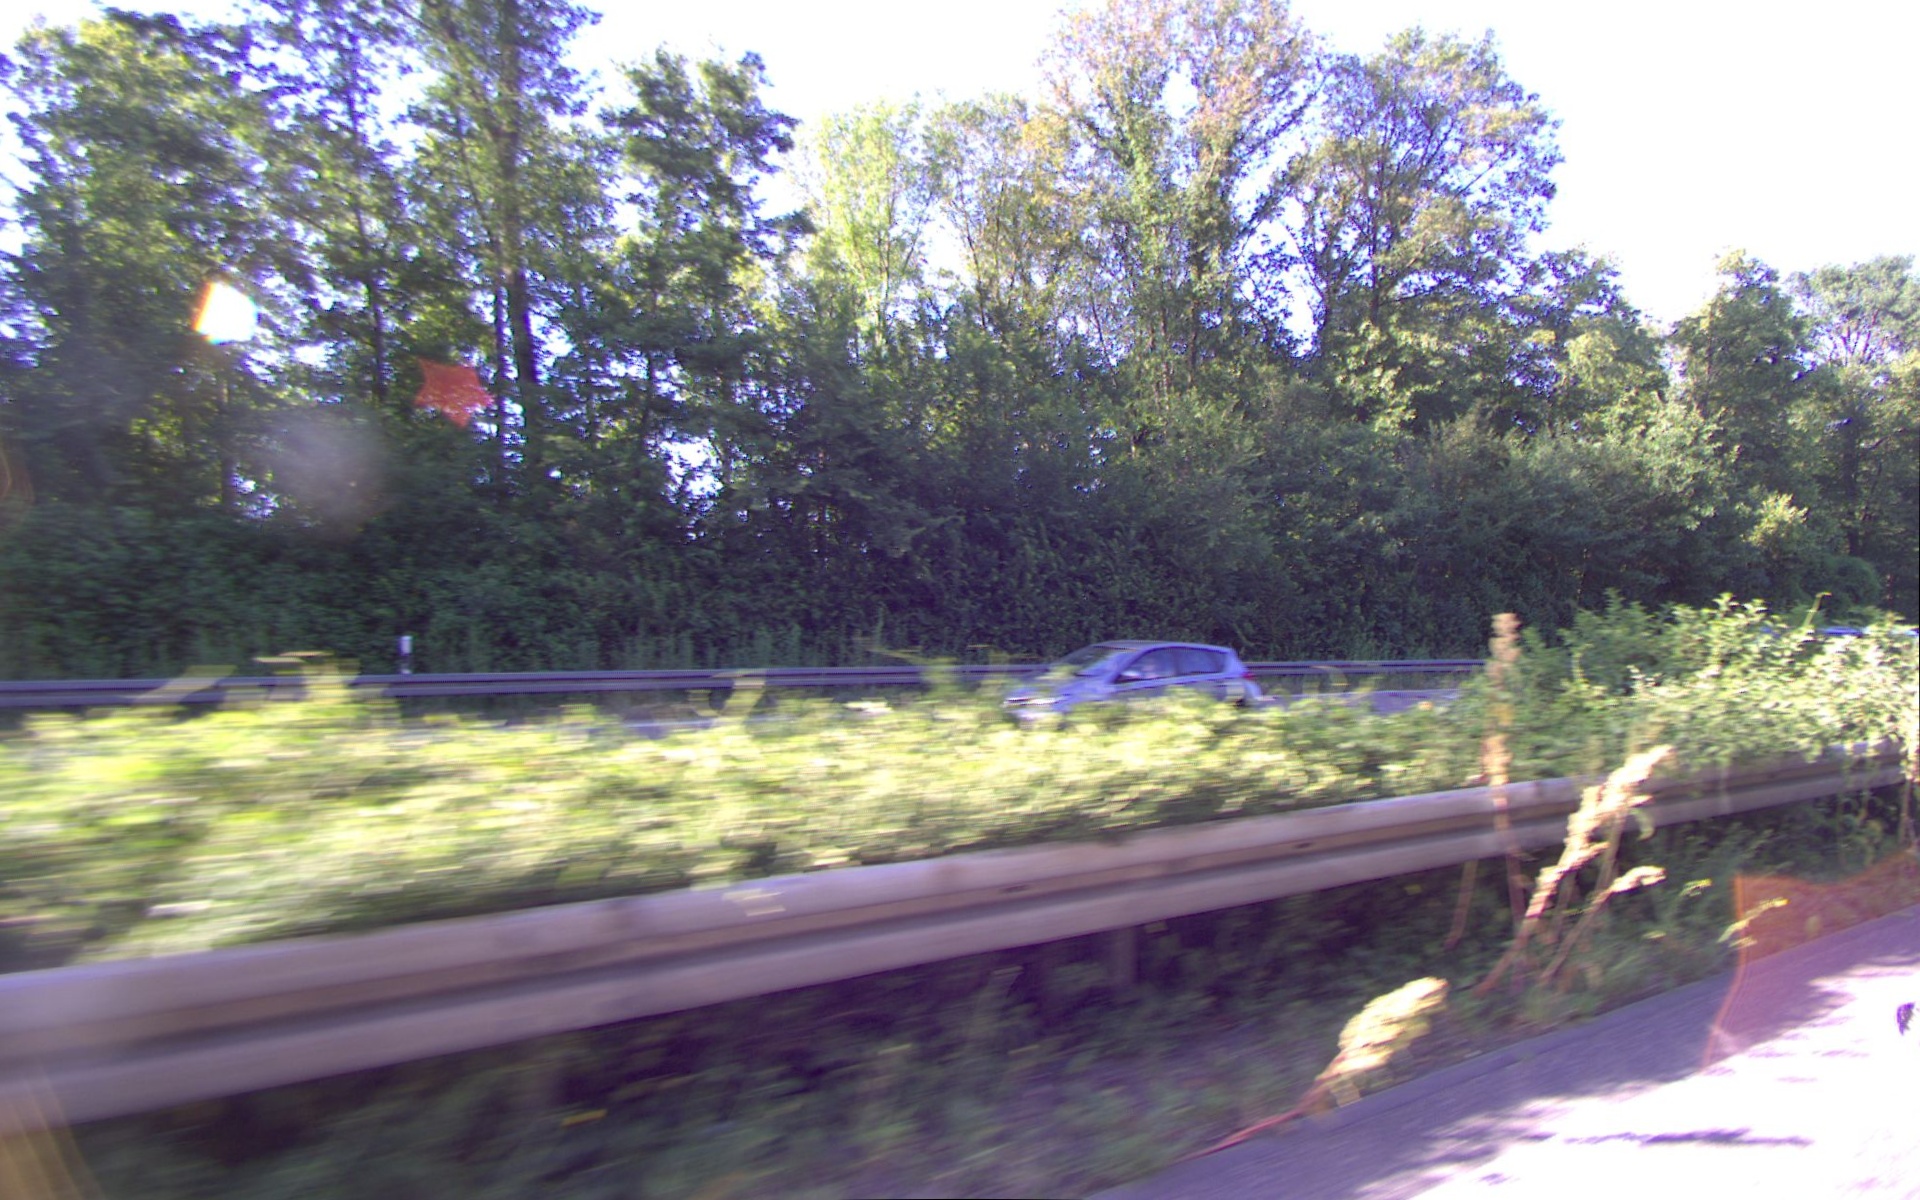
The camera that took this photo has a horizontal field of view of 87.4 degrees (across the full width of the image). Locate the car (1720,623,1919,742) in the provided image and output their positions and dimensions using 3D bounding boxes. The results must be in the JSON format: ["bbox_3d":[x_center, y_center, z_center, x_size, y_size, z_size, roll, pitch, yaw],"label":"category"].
[{"bbox_3d":[15.569,1.404,17.911,3.951,1.872,1.771,2,0,-29],"label":"car"}]

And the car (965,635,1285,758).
[{"bbox_3d":[2.421,1.287,14.371,4.384,1.461,1.791,2,0,-30],"label":"car"}]
